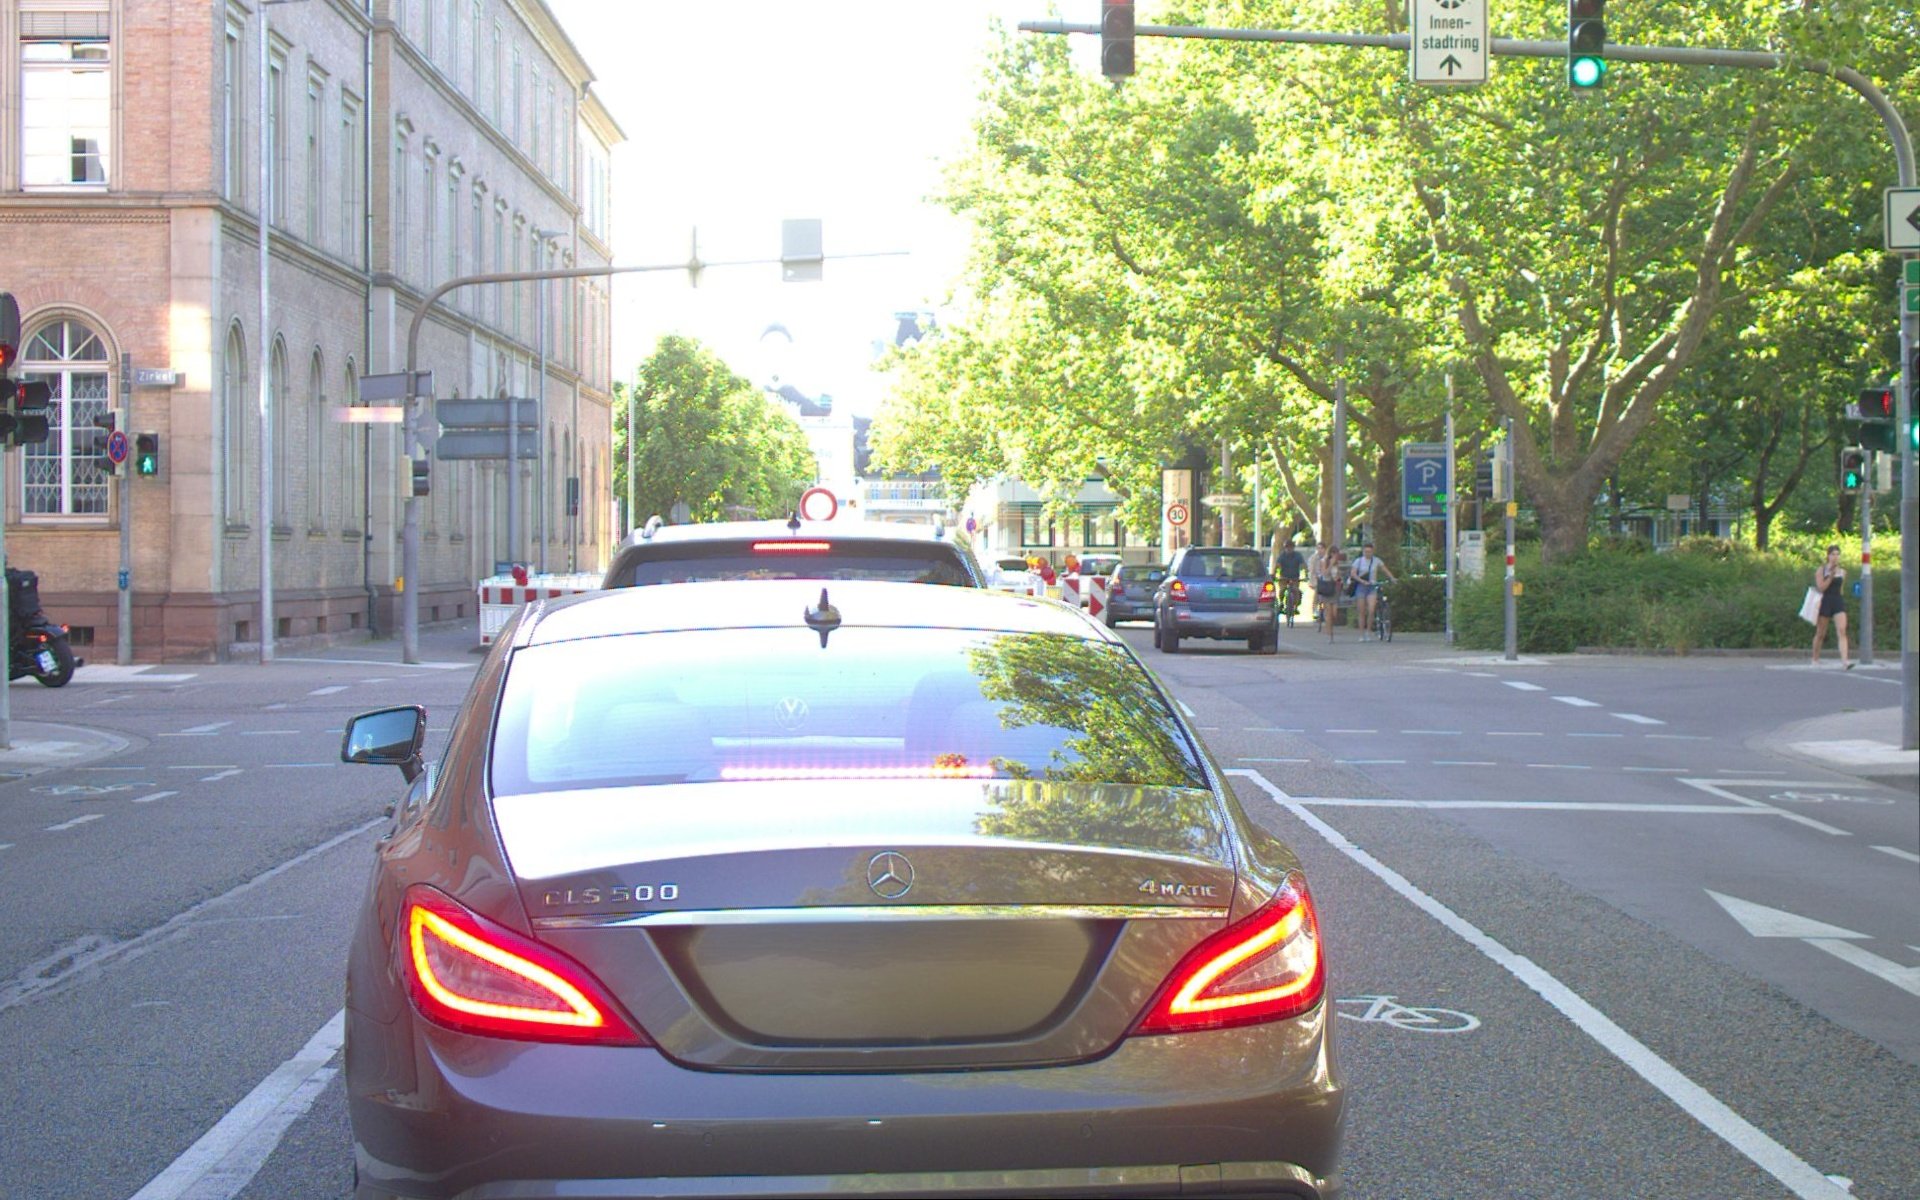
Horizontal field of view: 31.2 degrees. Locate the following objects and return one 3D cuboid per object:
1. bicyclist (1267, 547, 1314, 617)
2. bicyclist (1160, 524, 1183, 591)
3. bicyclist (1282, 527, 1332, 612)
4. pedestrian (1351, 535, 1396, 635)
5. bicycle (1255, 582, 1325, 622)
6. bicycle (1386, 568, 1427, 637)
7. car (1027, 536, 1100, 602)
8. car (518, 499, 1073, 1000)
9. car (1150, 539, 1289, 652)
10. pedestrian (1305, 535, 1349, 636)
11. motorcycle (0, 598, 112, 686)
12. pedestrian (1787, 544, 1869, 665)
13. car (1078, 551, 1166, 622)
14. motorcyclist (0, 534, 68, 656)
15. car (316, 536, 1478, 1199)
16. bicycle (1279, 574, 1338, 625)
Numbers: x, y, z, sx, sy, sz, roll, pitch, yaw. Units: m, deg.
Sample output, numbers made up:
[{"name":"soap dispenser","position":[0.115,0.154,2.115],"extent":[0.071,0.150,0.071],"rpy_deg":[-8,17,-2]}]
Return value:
[{"name":"bicyclist","position":[6.697,-0.368,69.669],"extent":[0.734,1.393,0.697],"rpy_deg":[1,0,28]},{"name":"bicyclist","position":[6.475,-1.309,105.079],"extent":[0.594,2.032,0.566],"rpy_deg":[1,0,-4]},{"name":"bicyclist","position":[6.659,-0.591,65.946],"extent":[0.825,1.612,0.957],"rpy_deg":[1,0,-1]},{"name":"pedestrian","position":[7.346,-0.271,61.115],"extent":[0.635,1.754,0.699],"rpy_deg":[1,0,-4]},{"name":"bicycle","position":[6.700,0.028,69.698],"extent":[0.724,0.788,1.925],"rpy_deg":[1,1,28]},{"name":"bicycle","position":[7.931,0.031,61.087],"extent":[0.482,1.198,1.606],"rpy_deg":[1,1,-1]},{"name":"car","position":[2.676,-0.814,89.534],"extent":[1.731,1.656,3.681],"rpy_deg":[1,1,-1]},{"name":"car","position":[-0.578,0.472,13.611],"extent":[1.861,1.677,4.000],"rpy_deg":[1,1,-1]},{"name":"car","position":[4.195,-0.113,56.179],"extent":[1.861,1.758,4.482],"rpy_deg":[1,1,-1]},{"name":"pedestrian","position":[6.521,-0.261,61.080],"extent":[0.635,1.791,0.699],"rpy_deg":[1,0,-4]},{"name":"motorcycle","position":[-10.135,0.434,36.855],"extent":[2.056,0.889,0.754],"rpy_deg":[1,1,29]},{"name":"pedestrian","position":[11.159,0.049,44.223],"extent":[0.635,1.540,0.910],"rpy_deg":[1,0,-15]},{"name":"car","position":[3.590,-0.325,76.657],"extent":[1.704,1.514,4.000],"rpy_deg":[1,1,-1]},{"name":"motorcyclist","position":[-10.152,-0.063,36.864],"extent":[0.801,1.290,0.788],"rpy_deg":[1,0,28]},{"name":"car","position":[-0.357,0.627,7.481],"extent":[1.861,1.514,4.001],"rpy_deg":[0,1,-8]},{"name":"bicycle","position":[6.665,-0.019,65.901],"extent":[0.828,0.921,2.617],"rpy_deg":[1,1,-1]}]
